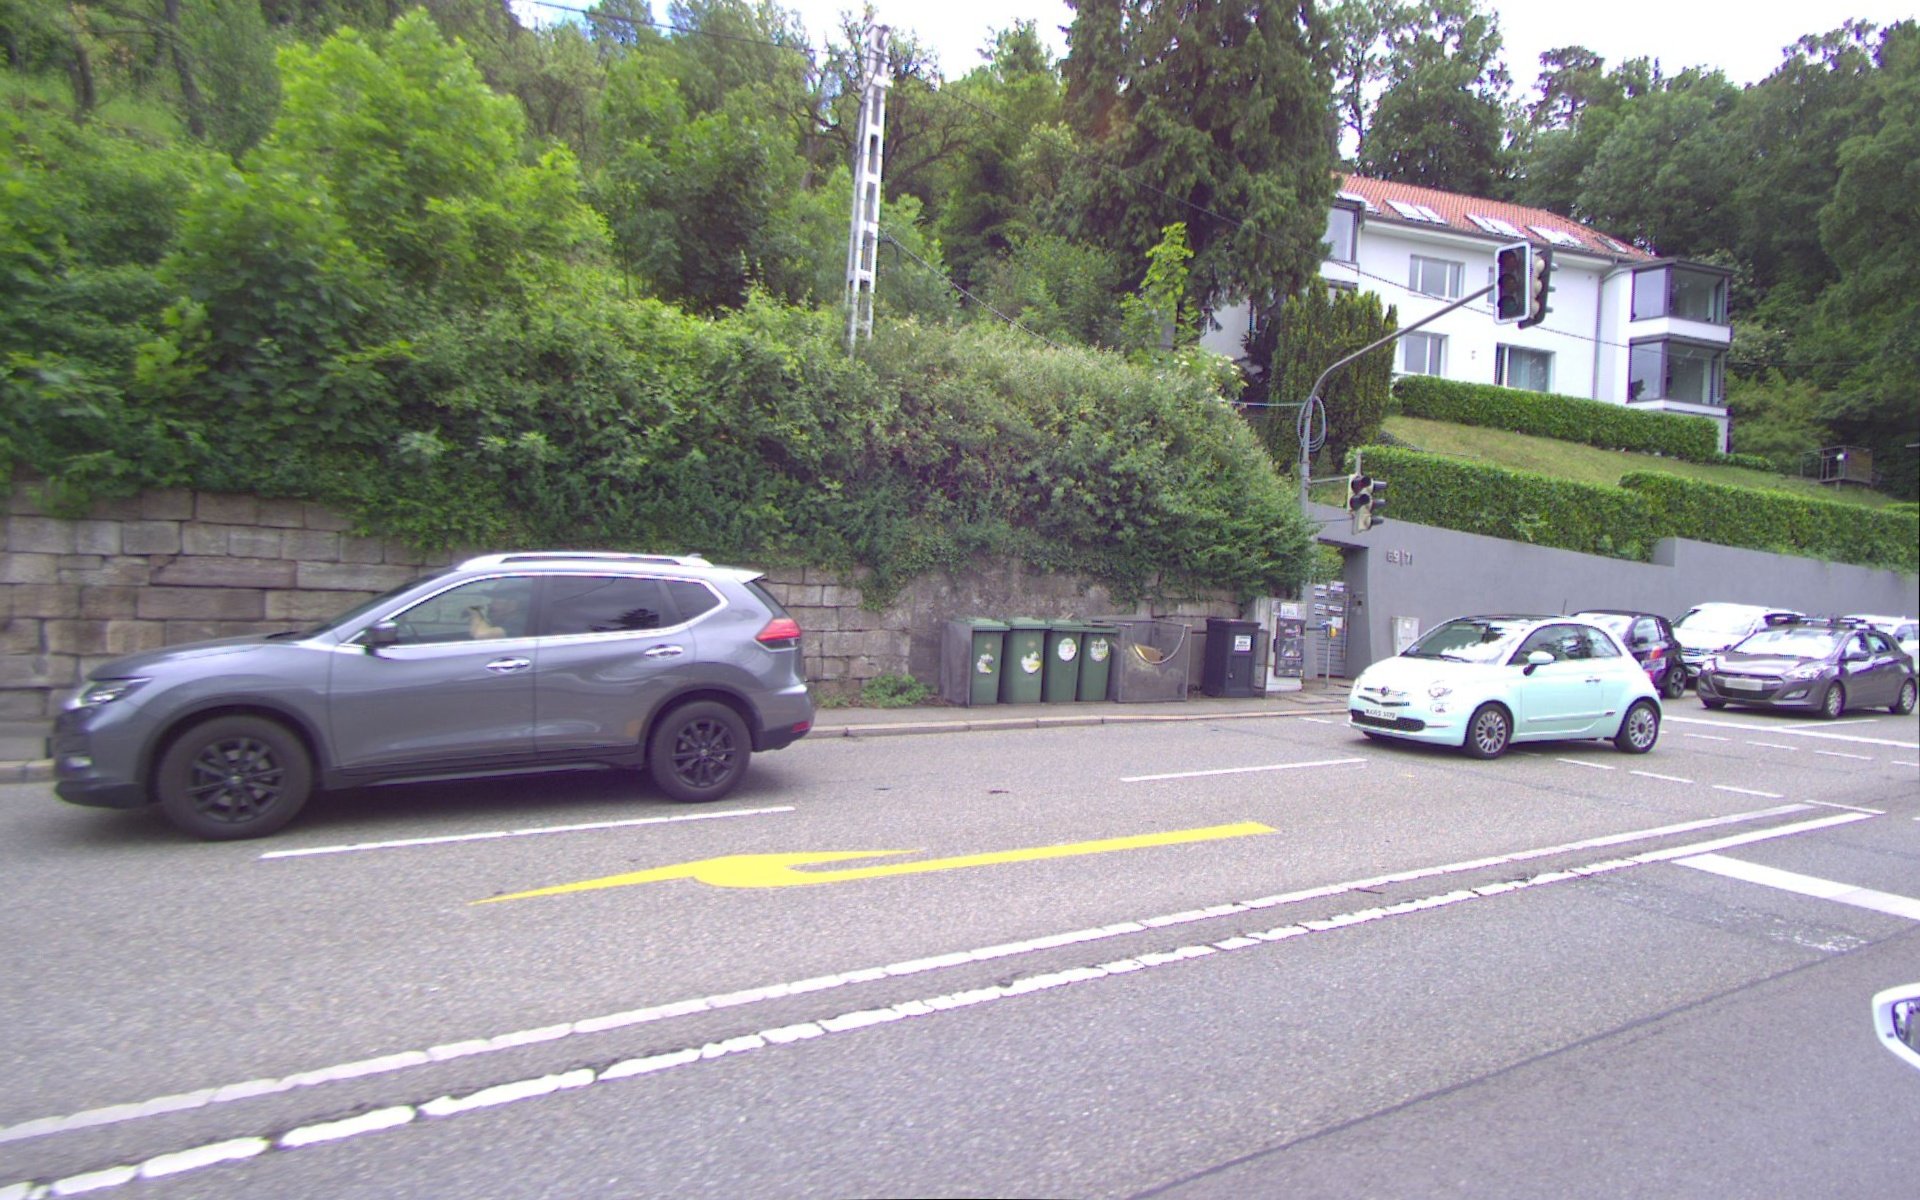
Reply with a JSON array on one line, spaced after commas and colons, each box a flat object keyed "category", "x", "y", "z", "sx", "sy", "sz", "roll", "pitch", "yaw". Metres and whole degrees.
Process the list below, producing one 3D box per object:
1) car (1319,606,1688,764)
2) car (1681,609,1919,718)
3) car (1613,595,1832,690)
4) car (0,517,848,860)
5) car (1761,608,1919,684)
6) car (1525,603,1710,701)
[{"category": "car", "x": 6.071, "y": 0.878, "z": 11.267, "sx": 3.607, "sy": 1.486, "sz": 1.708, "roll": 1, "pitch": 1, "yaw": -22}, {"category": "car", "x": 14.267, "y": 1.035, "z": 16.911, "sx": 4.152, "sy": 1.619, "sz": 1.705, "roll": 2, "pitch": 0, "yaw": -27}, {"category": "car", "x": 16.276, "y": 0.886, "z": 21.403, "sx": 4.702, "sy": 1.754, "sz": 1.851, "roll": 2, "pitch": 2, "yaw": -28}, {"category": "car", "x": -3.293, "y": 0.478, "z": 7.022, "sx": 4.616, "sy": 1.720, "sz": 1.874, "roll": 1, "pitch": 1, "yaw": -30}, {"category": "car", "x": 21.426, "y": 1.093, "z": 23.784, "sx": 4.408, "sy": 1.593, "sz": 1.829, "roll": 2, "pitch": 1, "yaw": -21}, {"category": "car", "x": 12.418, "y": 0.927, "z": 18.980, "sx": 2.922, "sy": 1.594, "sz": 1.703, "roll": 1, "pitch": 4, "yaw": -29}]
